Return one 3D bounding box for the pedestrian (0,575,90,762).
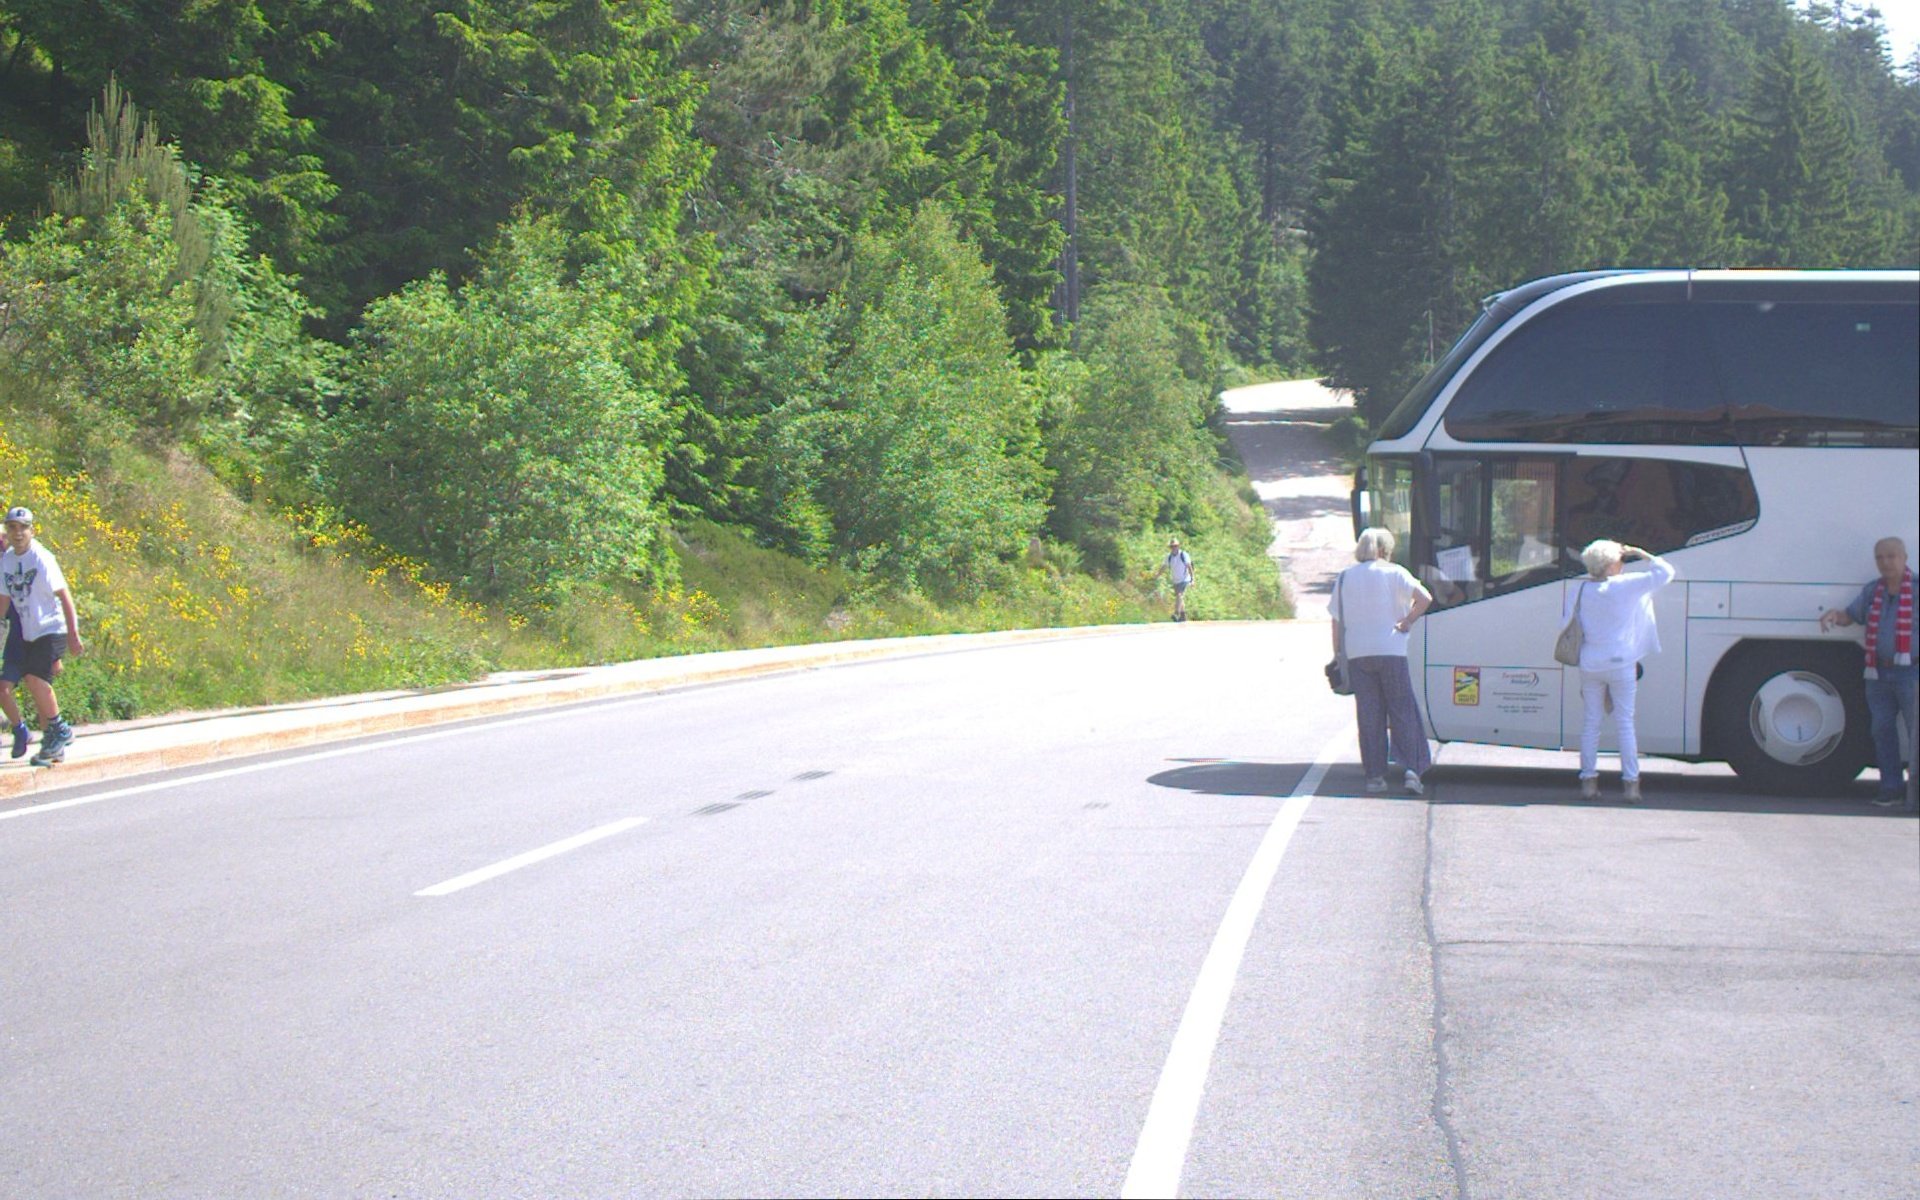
[{"bbox_3d":[-5.711,0.406,20.882,0.569,1.098,0.744,0,1,9],"label":"pedestrian"}]

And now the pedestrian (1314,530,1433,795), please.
[{"bbox_3d":[2.599,0.380,21.683,0.707,1.637,0.745,0,1,4],"label":"pedestrian"}]

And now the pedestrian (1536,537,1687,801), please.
[{"bbox_3d":[4.037,0.409,21.286,0.645,1.590,0.743,1,2,39],"label":"pedestrian"}]

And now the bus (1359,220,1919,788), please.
[{"bbox_3d":[9.193,-0.581,22.232,12.854,3.565,2.837,1,1,14],"label":"bus"}]

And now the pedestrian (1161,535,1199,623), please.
[{"bbox_3d":[4.391,-0.418,68.675,0.682,1.740,0.825,1,1,7],"label":"pedestrian"}]

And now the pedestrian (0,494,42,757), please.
[{"bbox_3d":[-6.247,0.156,21.631,0.576,1.637,0.894,0,1,9],"label":"pedestrian"}]

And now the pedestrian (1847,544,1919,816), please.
[{"bbox_3d":[5.791,0.479,21.140,0.644,1.637,0.744,0,1,14],"label":"pedestrian"}]

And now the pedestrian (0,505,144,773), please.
[{"bbox_3d":[-5.333,0.212,20.167,0.877,1.532,0.582,-1,2,-41],"label":"pedestrian"}]
